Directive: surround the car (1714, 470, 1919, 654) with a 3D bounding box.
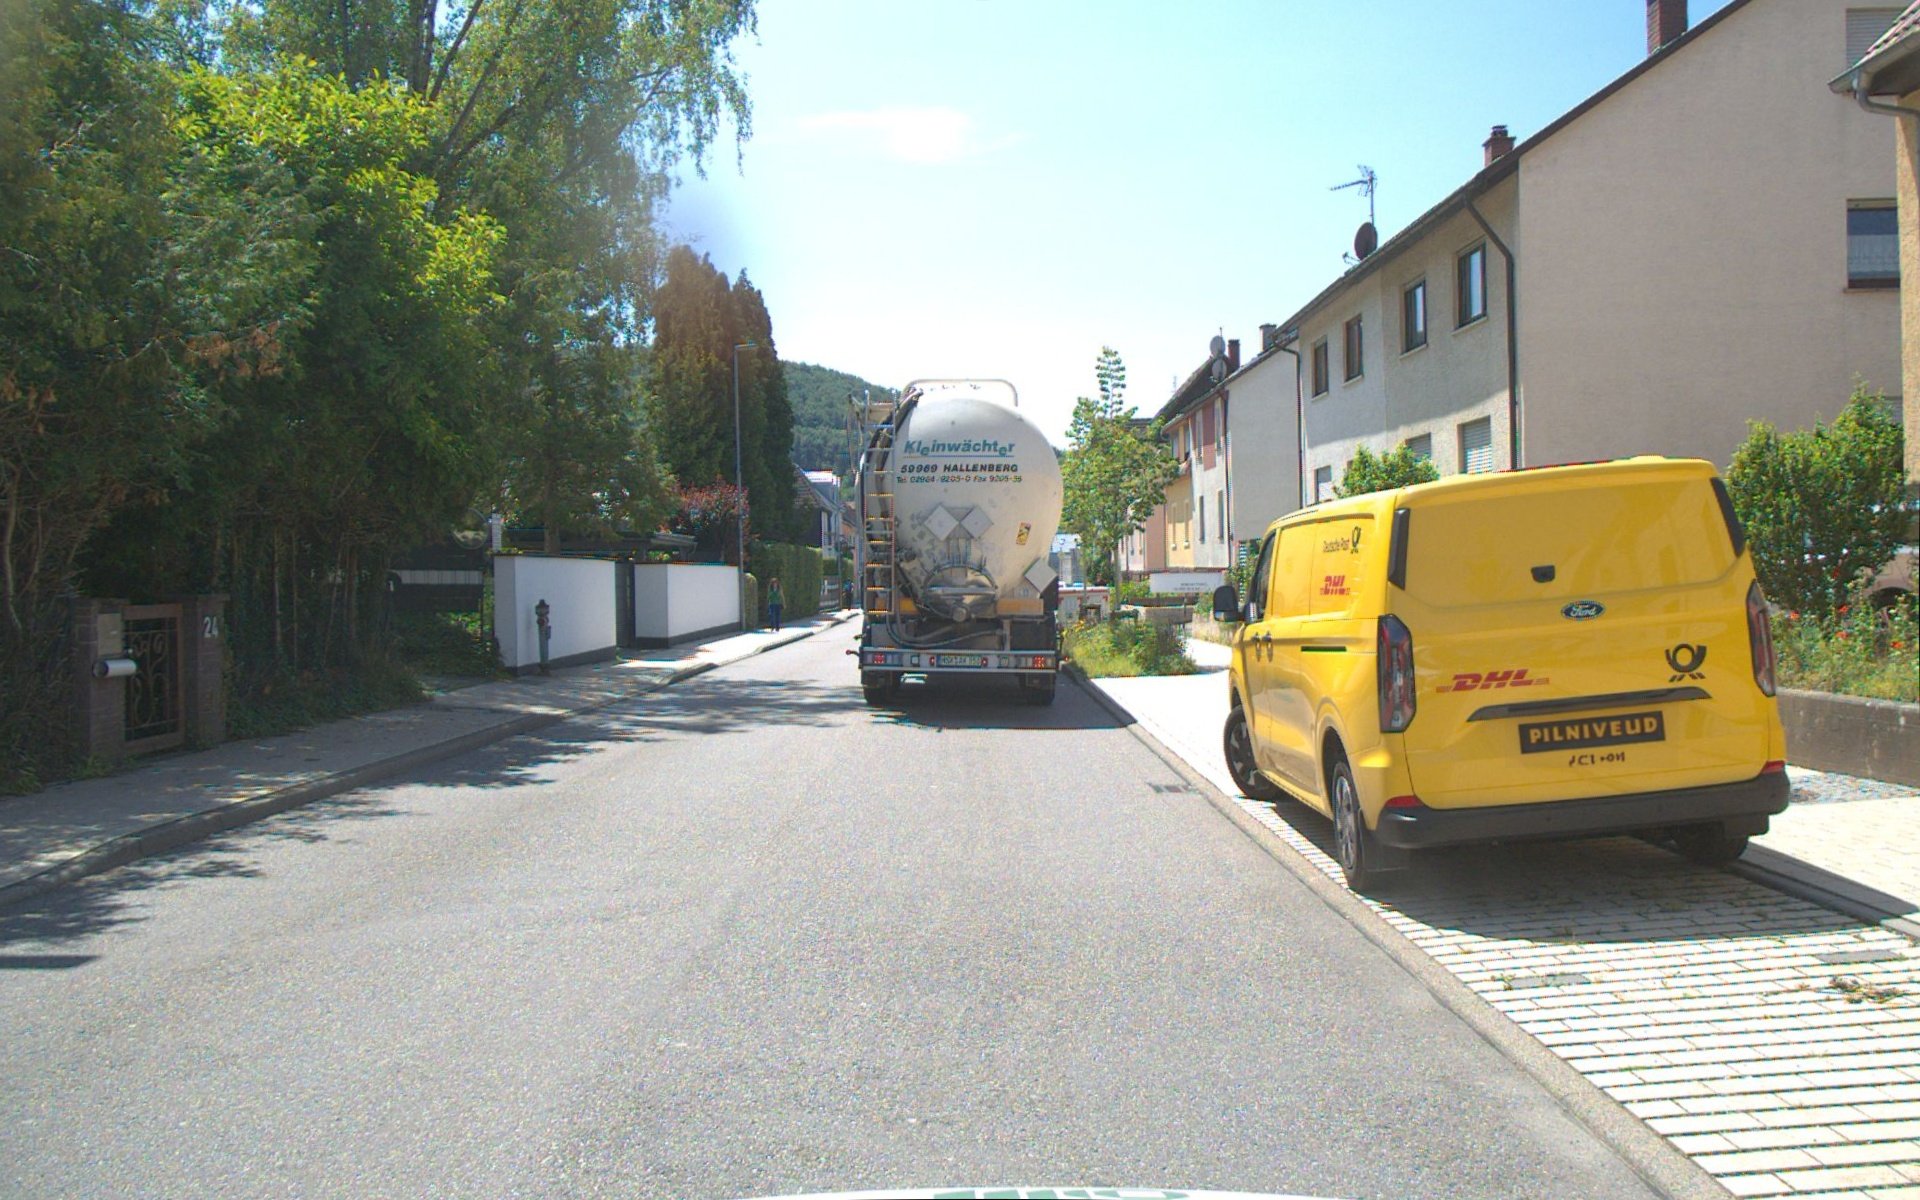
[{"bbox_3d":[10.206,-0.484,17.072,3.908,1.705,1.873,-4,0,-3],"label":"car"}]

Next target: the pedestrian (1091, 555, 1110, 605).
[{"bbox_3d":[5.796,-0.802,68.233,0.731,2.049,1.033,0,-1,1],"label":"pedestrian"}]

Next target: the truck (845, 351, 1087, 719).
[{"bbox_3d":[0.016,-0.798,24.029,2.694,4.127,10.888,0,1,-1],"label":"truck"}]

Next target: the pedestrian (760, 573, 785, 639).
[{"bbox_3d":[-5.897,0.188,51.988,0.706,2.049,0.804,0,-1,-1],"label":"pedestrian"}]

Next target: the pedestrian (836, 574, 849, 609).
[{"bbox_3d":[-6.269,-0.432,88.350,0.698,1.855,0.898,0,-1,-4],"label":"pedestrian"}]

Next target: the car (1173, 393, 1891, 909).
[{"bbox_3d":[2.863,0.230,10.027,2.146,2.048,5.621,-5,0,-1],"label":"car"}]

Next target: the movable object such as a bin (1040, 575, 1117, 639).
[{"bbox_3d":[2.811,0.174,39.740,1.540,1.441,3.041,-2,0,-1],"label":"movable object such as a bin"}]

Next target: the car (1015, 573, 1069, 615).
[{"bbox_3d":[3.092,-0.199,63.105,1.721,1.442,4.632,-3,-1,0],"label":"car"}]
